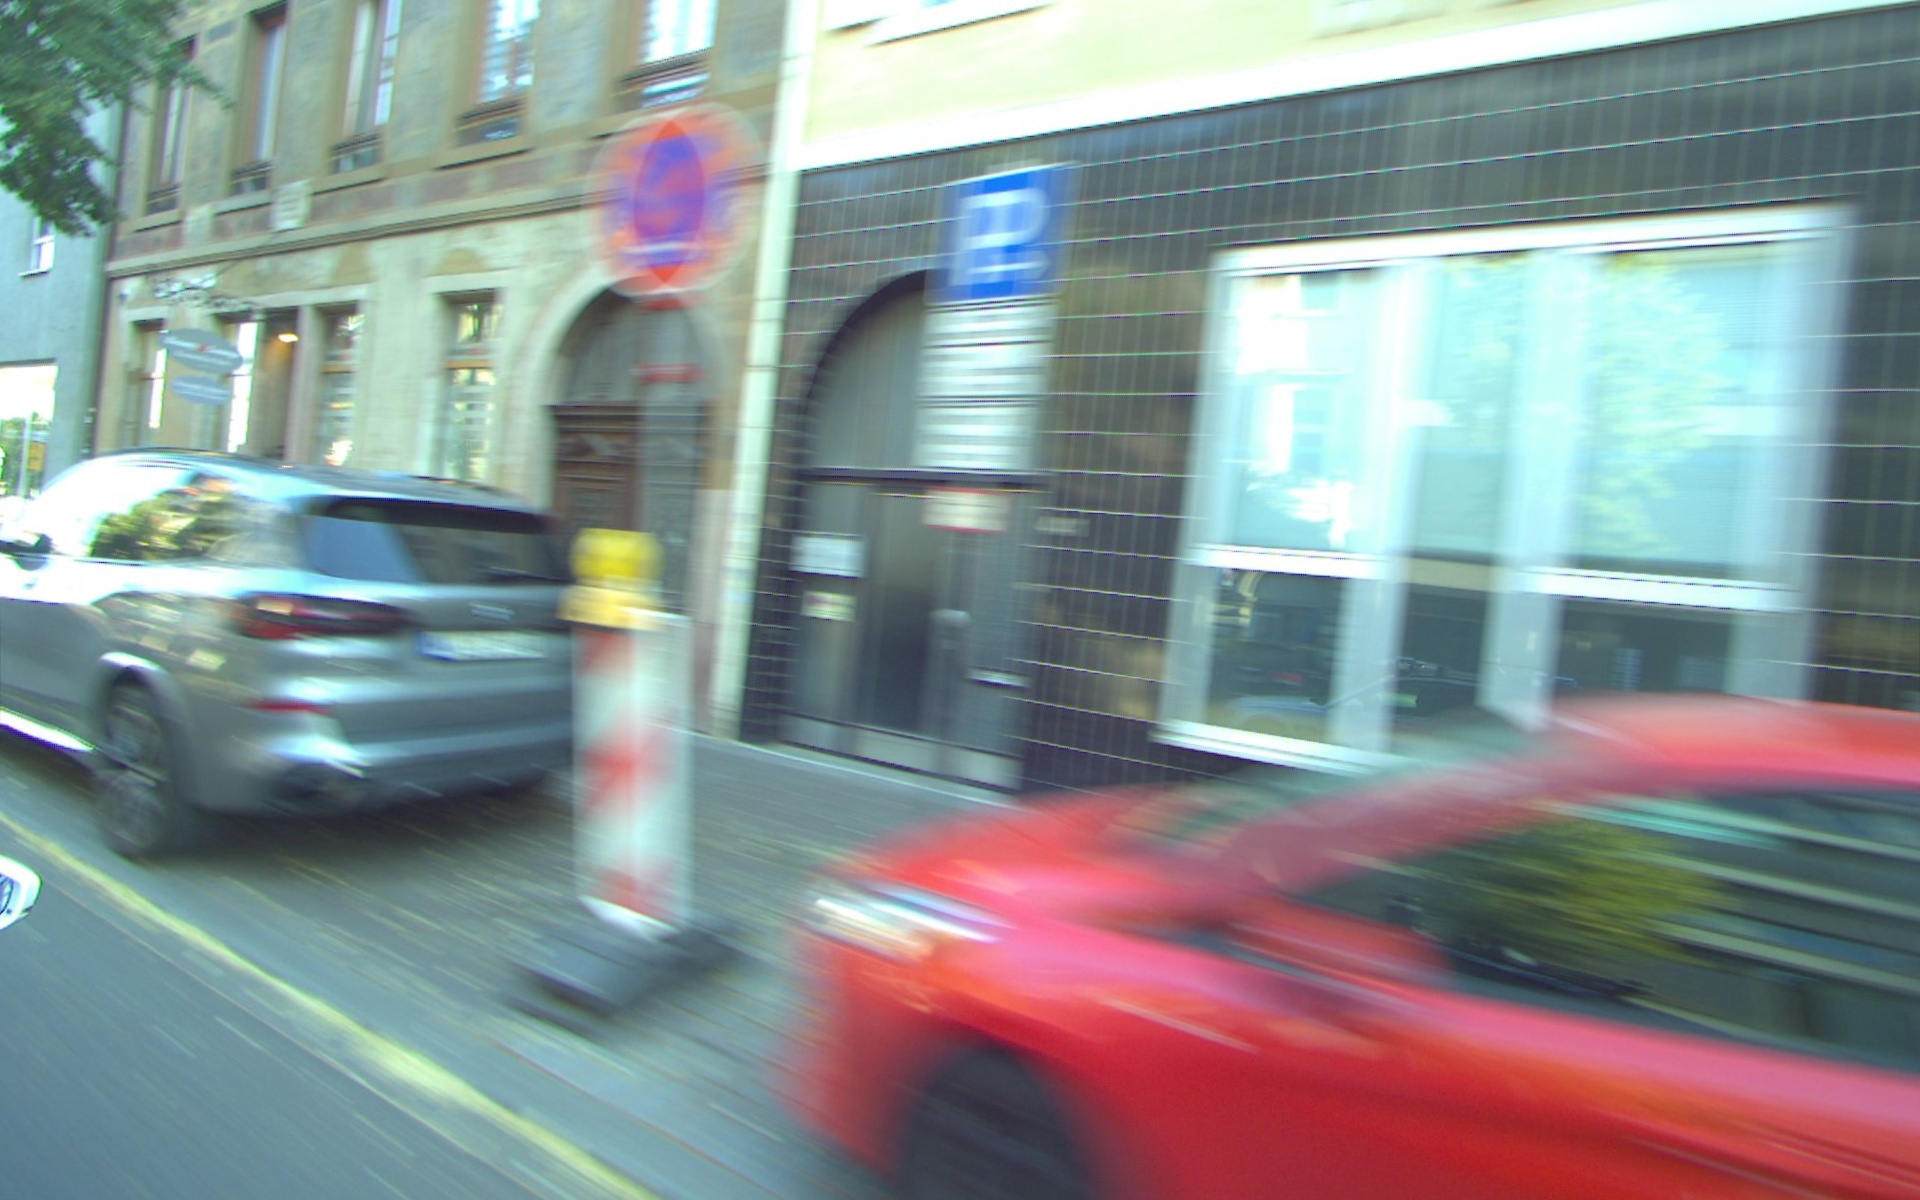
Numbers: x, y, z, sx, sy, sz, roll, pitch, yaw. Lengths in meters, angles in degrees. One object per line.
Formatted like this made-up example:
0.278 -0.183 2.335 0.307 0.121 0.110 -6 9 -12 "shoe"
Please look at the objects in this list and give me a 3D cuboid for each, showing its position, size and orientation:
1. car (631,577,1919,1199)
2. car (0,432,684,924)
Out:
1.349 0.911 2.275 3.833 1.507 1.731 7 2 28 "car"
-4.030 0.112 5.720 4.633 1.760 2.039 7 2 32 "car"
